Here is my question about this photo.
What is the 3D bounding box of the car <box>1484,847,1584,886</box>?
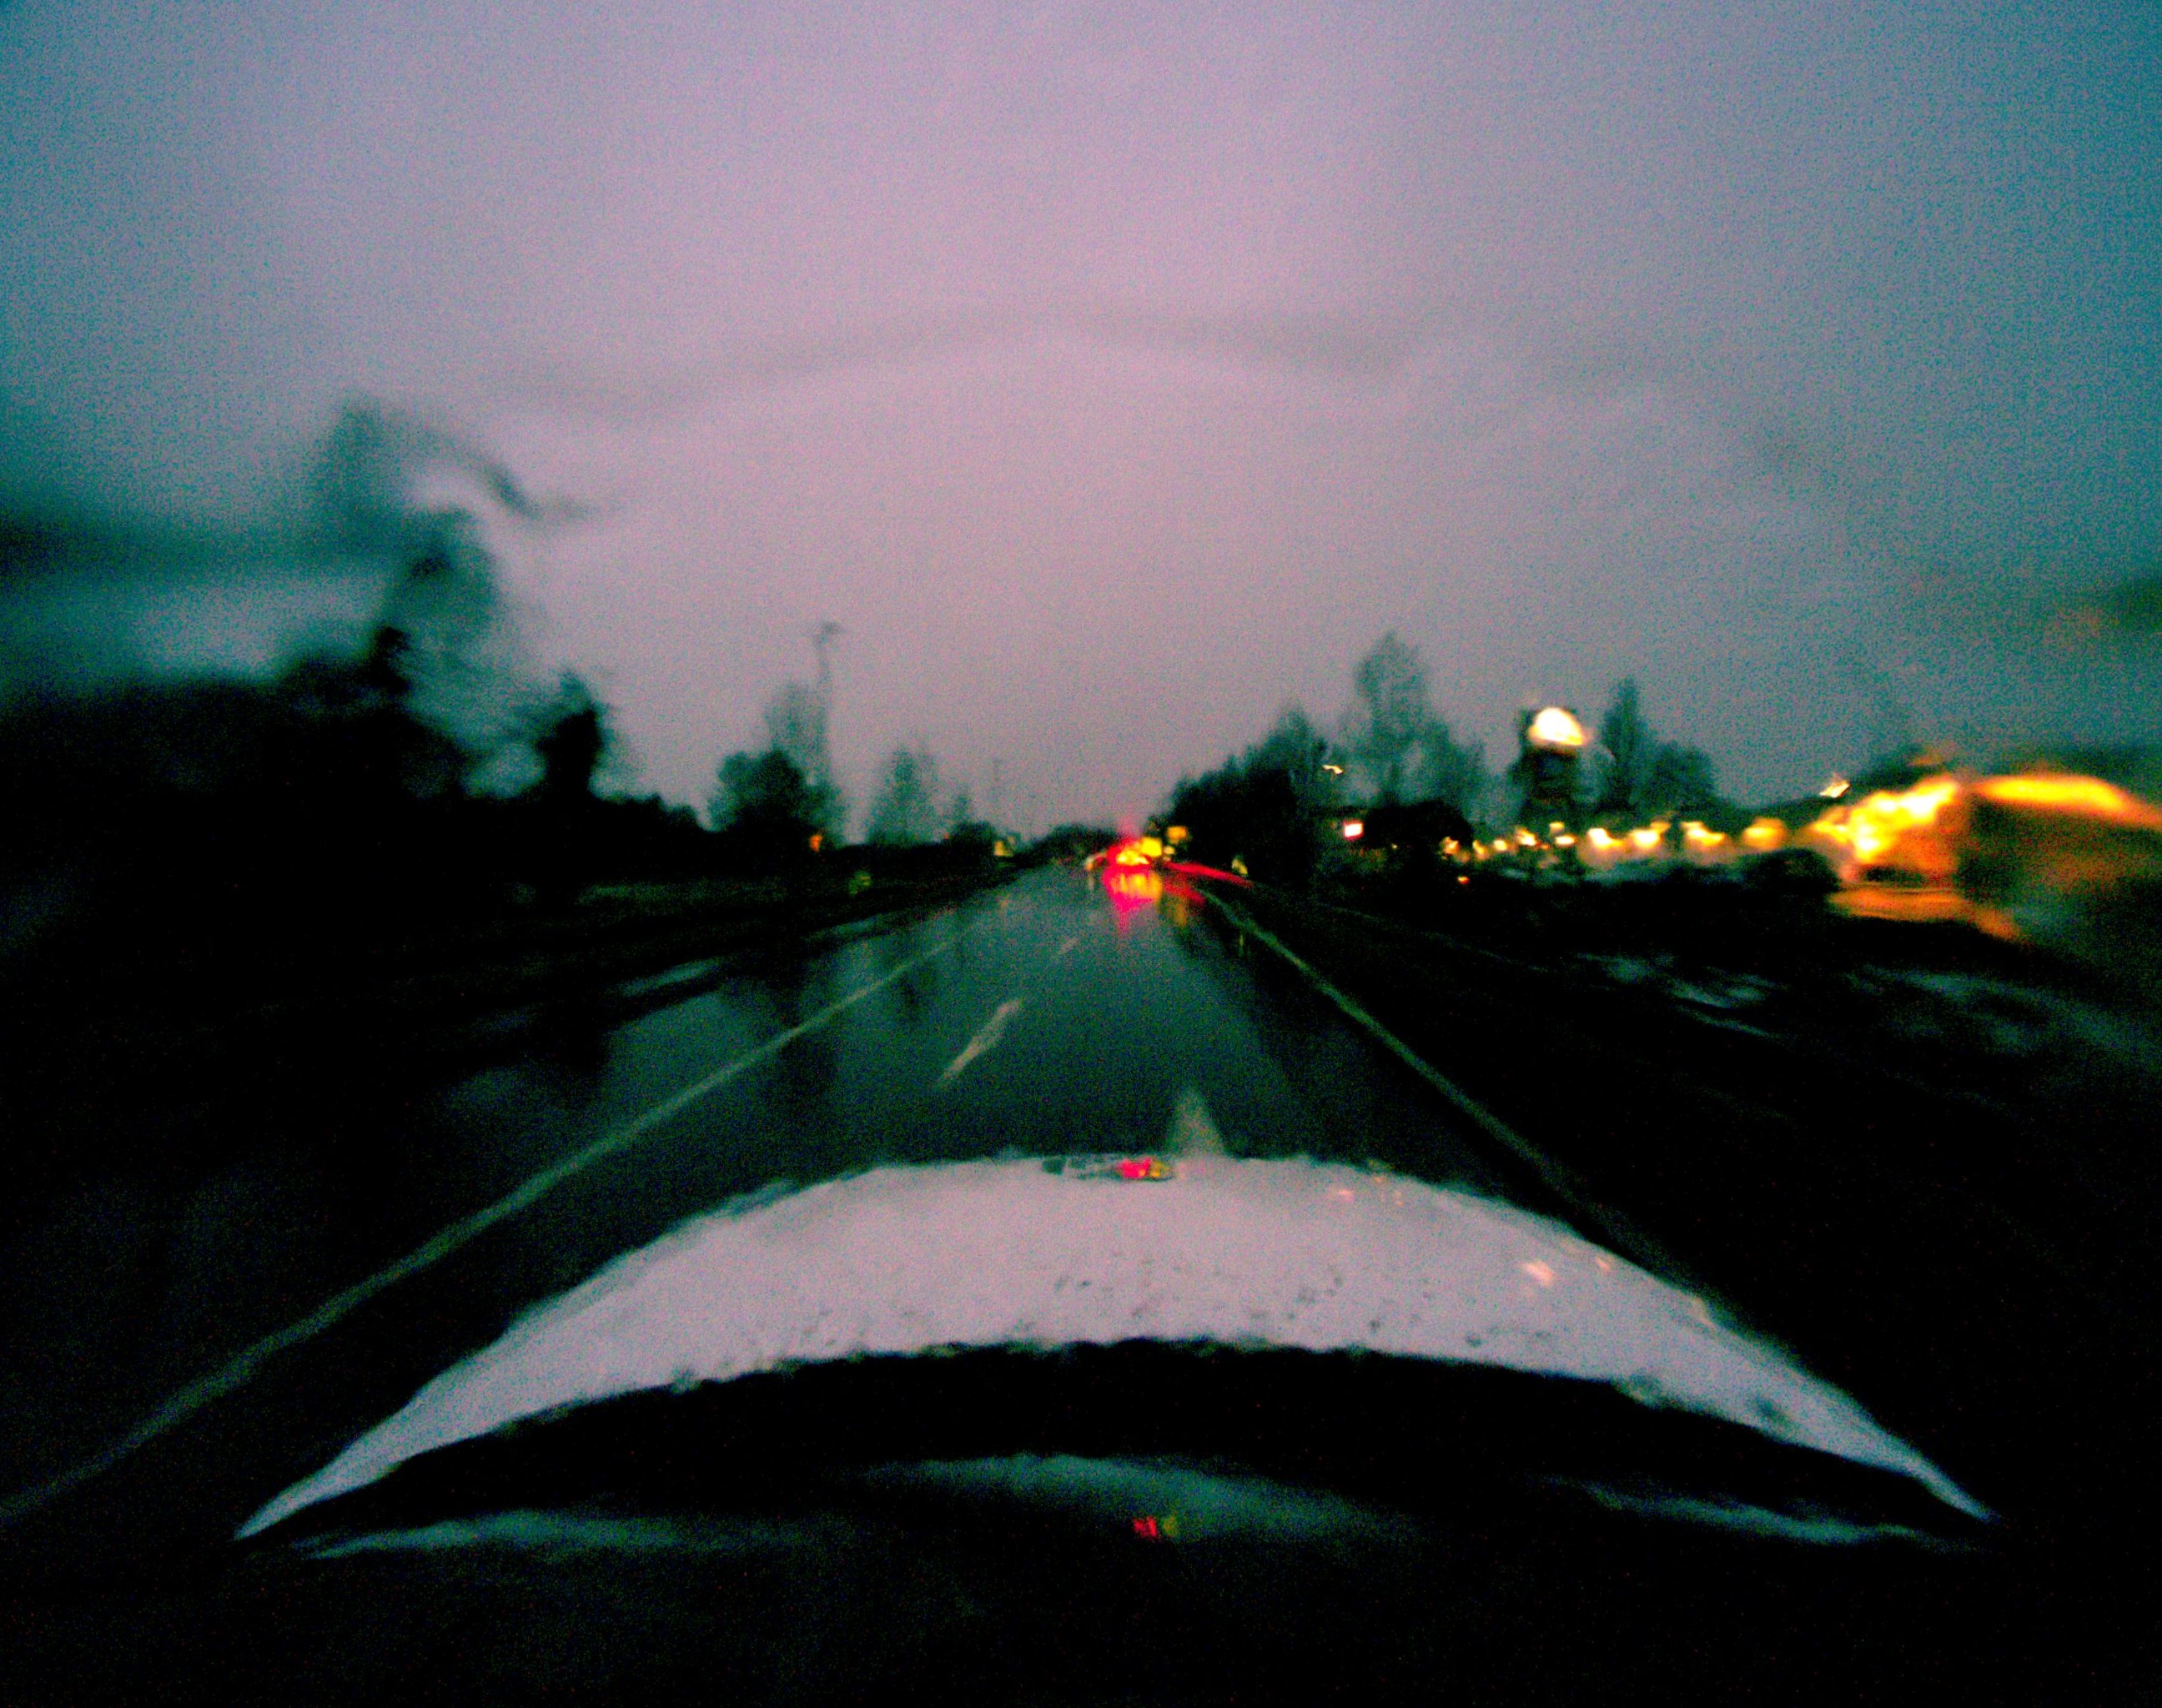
[{"bbox_3d":[21.938,0.601,39.476,4.129,1.835,1.656,0,-2,-11],"label":"car"}]

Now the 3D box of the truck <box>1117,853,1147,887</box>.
[{"bbox_3d":[4.443,1.360,72.002,2.522,2.869,5.925,-1,0,2],"label":"truck"}]

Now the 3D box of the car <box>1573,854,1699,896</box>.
[{"bbox_3d":[22.923,0.832,33.689,4.252,1.630,1.991,0,0,-14],"label":"car"}]

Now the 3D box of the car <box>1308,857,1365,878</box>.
[{"bbox_3d":[18.307,0.975,58.344,3.532,1.424,1.659,-1,-2,-6],"label":"car"}]

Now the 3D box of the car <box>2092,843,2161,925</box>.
[{"bbox_3d":[24.737,0.608,17.383,4.388,1.715,1.995,-1,0,-8],"label":"car"}]

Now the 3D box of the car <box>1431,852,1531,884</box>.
[{"bbox_3d":[21.066,0.729,42.914,4.724,1.489,1.655,-2,-2,-13],"label":"car"}]

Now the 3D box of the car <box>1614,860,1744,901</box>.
[{"bbox_3d":[22.725,0.966,31.008,3.868,1.477,1.991,0,0,-14],"label":"car"}]

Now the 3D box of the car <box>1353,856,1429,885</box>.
[{"bbox_3d":[20.049,1.056,52.714,4.133,1.724,2.012,-2,-1,-14],"label":"car"}]

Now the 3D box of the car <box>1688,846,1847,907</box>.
[{"bbox_3d":[23.327,0.714,27.724,4.252,1.854,1.991,-2,0,-14],"label":"car"}]

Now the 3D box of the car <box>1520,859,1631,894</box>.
[{"bbox_3d":[22.078,0.978,36.412,4.125,1.422,1.658,-1,0,-9],"label":"car"}]
